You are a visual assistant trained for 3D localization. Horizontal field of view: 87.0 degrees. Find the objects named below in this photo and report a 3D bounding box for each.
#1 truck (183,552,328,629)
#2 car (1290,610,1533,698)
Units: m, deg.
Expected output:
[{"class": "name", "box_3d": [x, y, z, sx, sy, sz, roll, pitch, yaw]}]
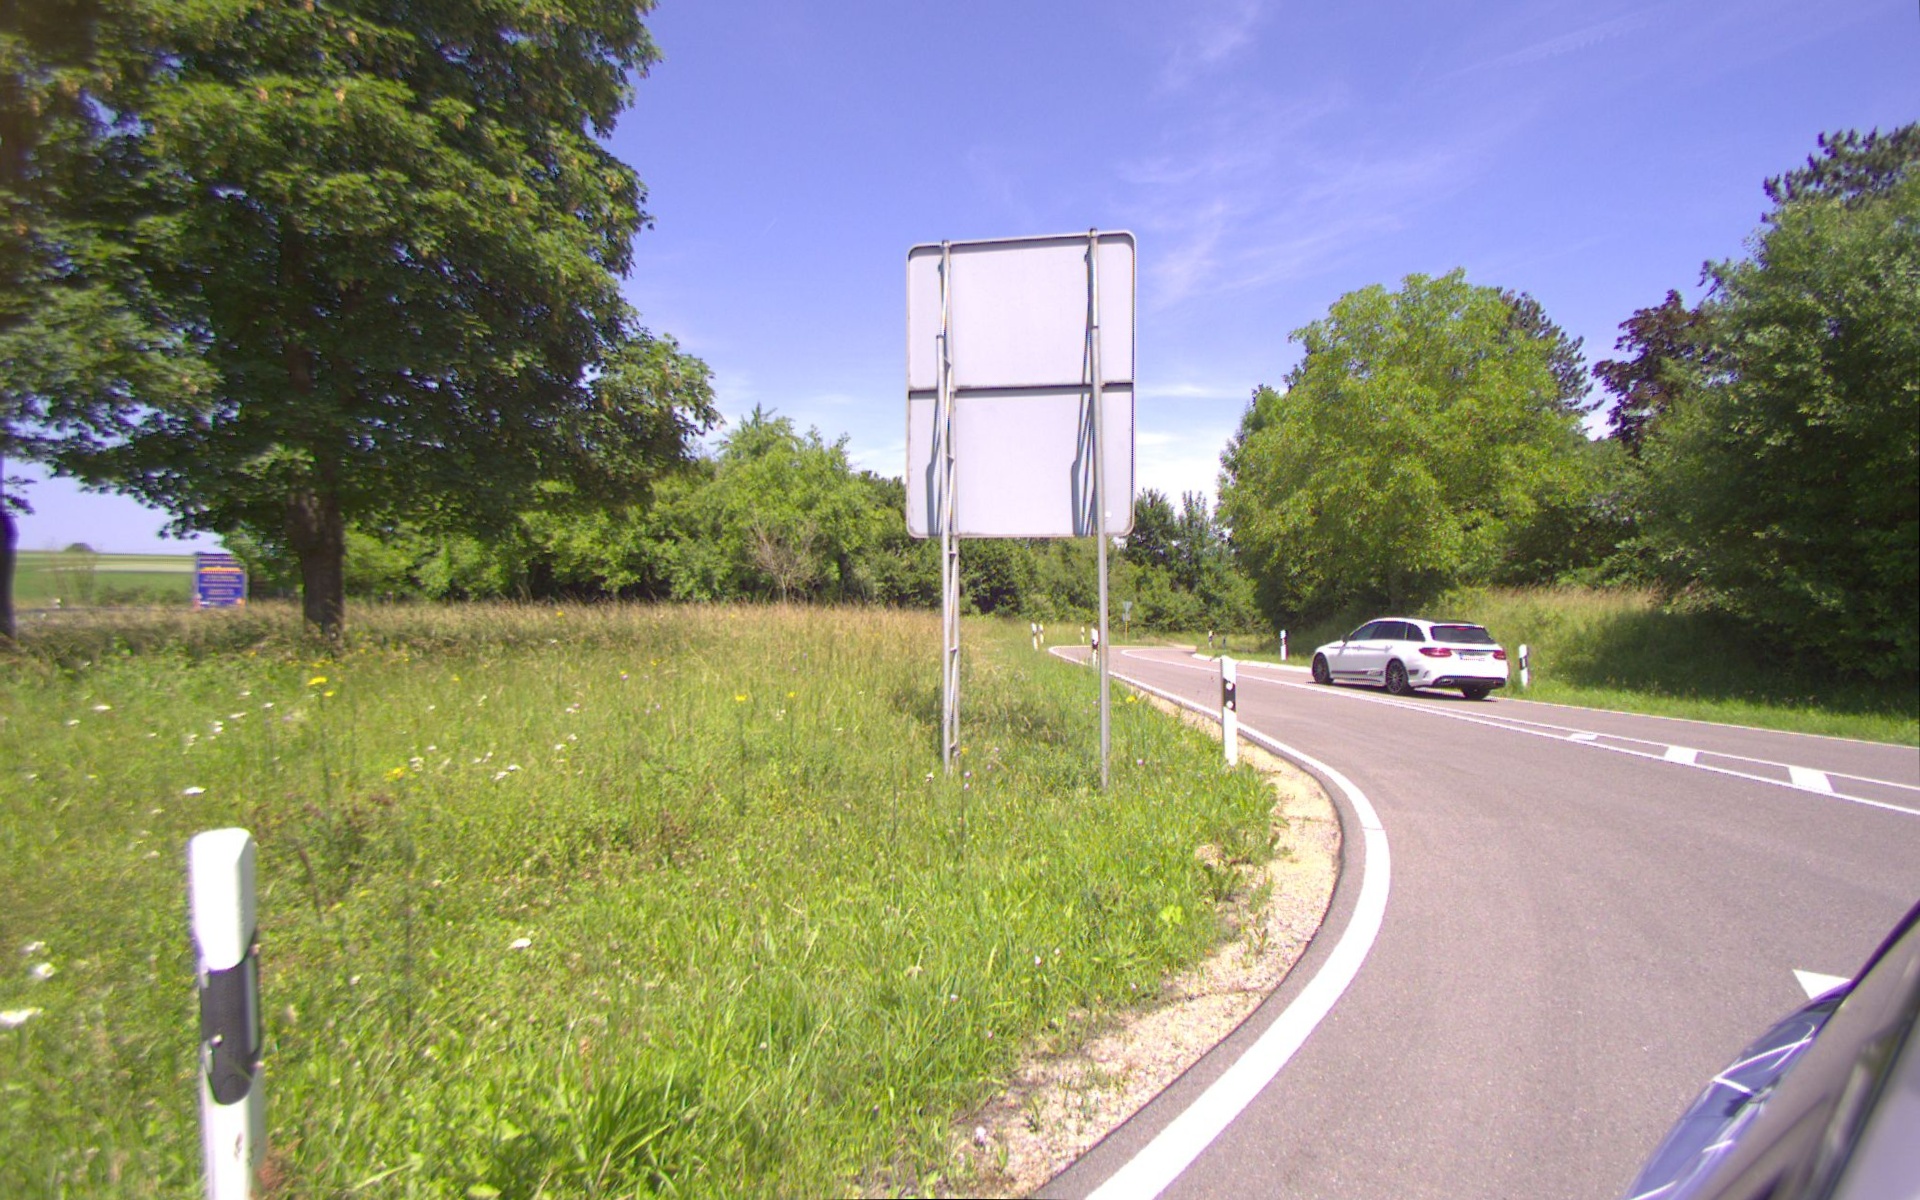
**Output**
[{"class": "truck", "box_3d": [-43.535, -0.518, 63.414, 2.792, 4.184, 16.846, 1, 0, -19]}, {"class": "car", "box_3d": [8.698, 0.970, 20.160, 1.773, 1.430, 5.342, 2, 0, -9]}]
